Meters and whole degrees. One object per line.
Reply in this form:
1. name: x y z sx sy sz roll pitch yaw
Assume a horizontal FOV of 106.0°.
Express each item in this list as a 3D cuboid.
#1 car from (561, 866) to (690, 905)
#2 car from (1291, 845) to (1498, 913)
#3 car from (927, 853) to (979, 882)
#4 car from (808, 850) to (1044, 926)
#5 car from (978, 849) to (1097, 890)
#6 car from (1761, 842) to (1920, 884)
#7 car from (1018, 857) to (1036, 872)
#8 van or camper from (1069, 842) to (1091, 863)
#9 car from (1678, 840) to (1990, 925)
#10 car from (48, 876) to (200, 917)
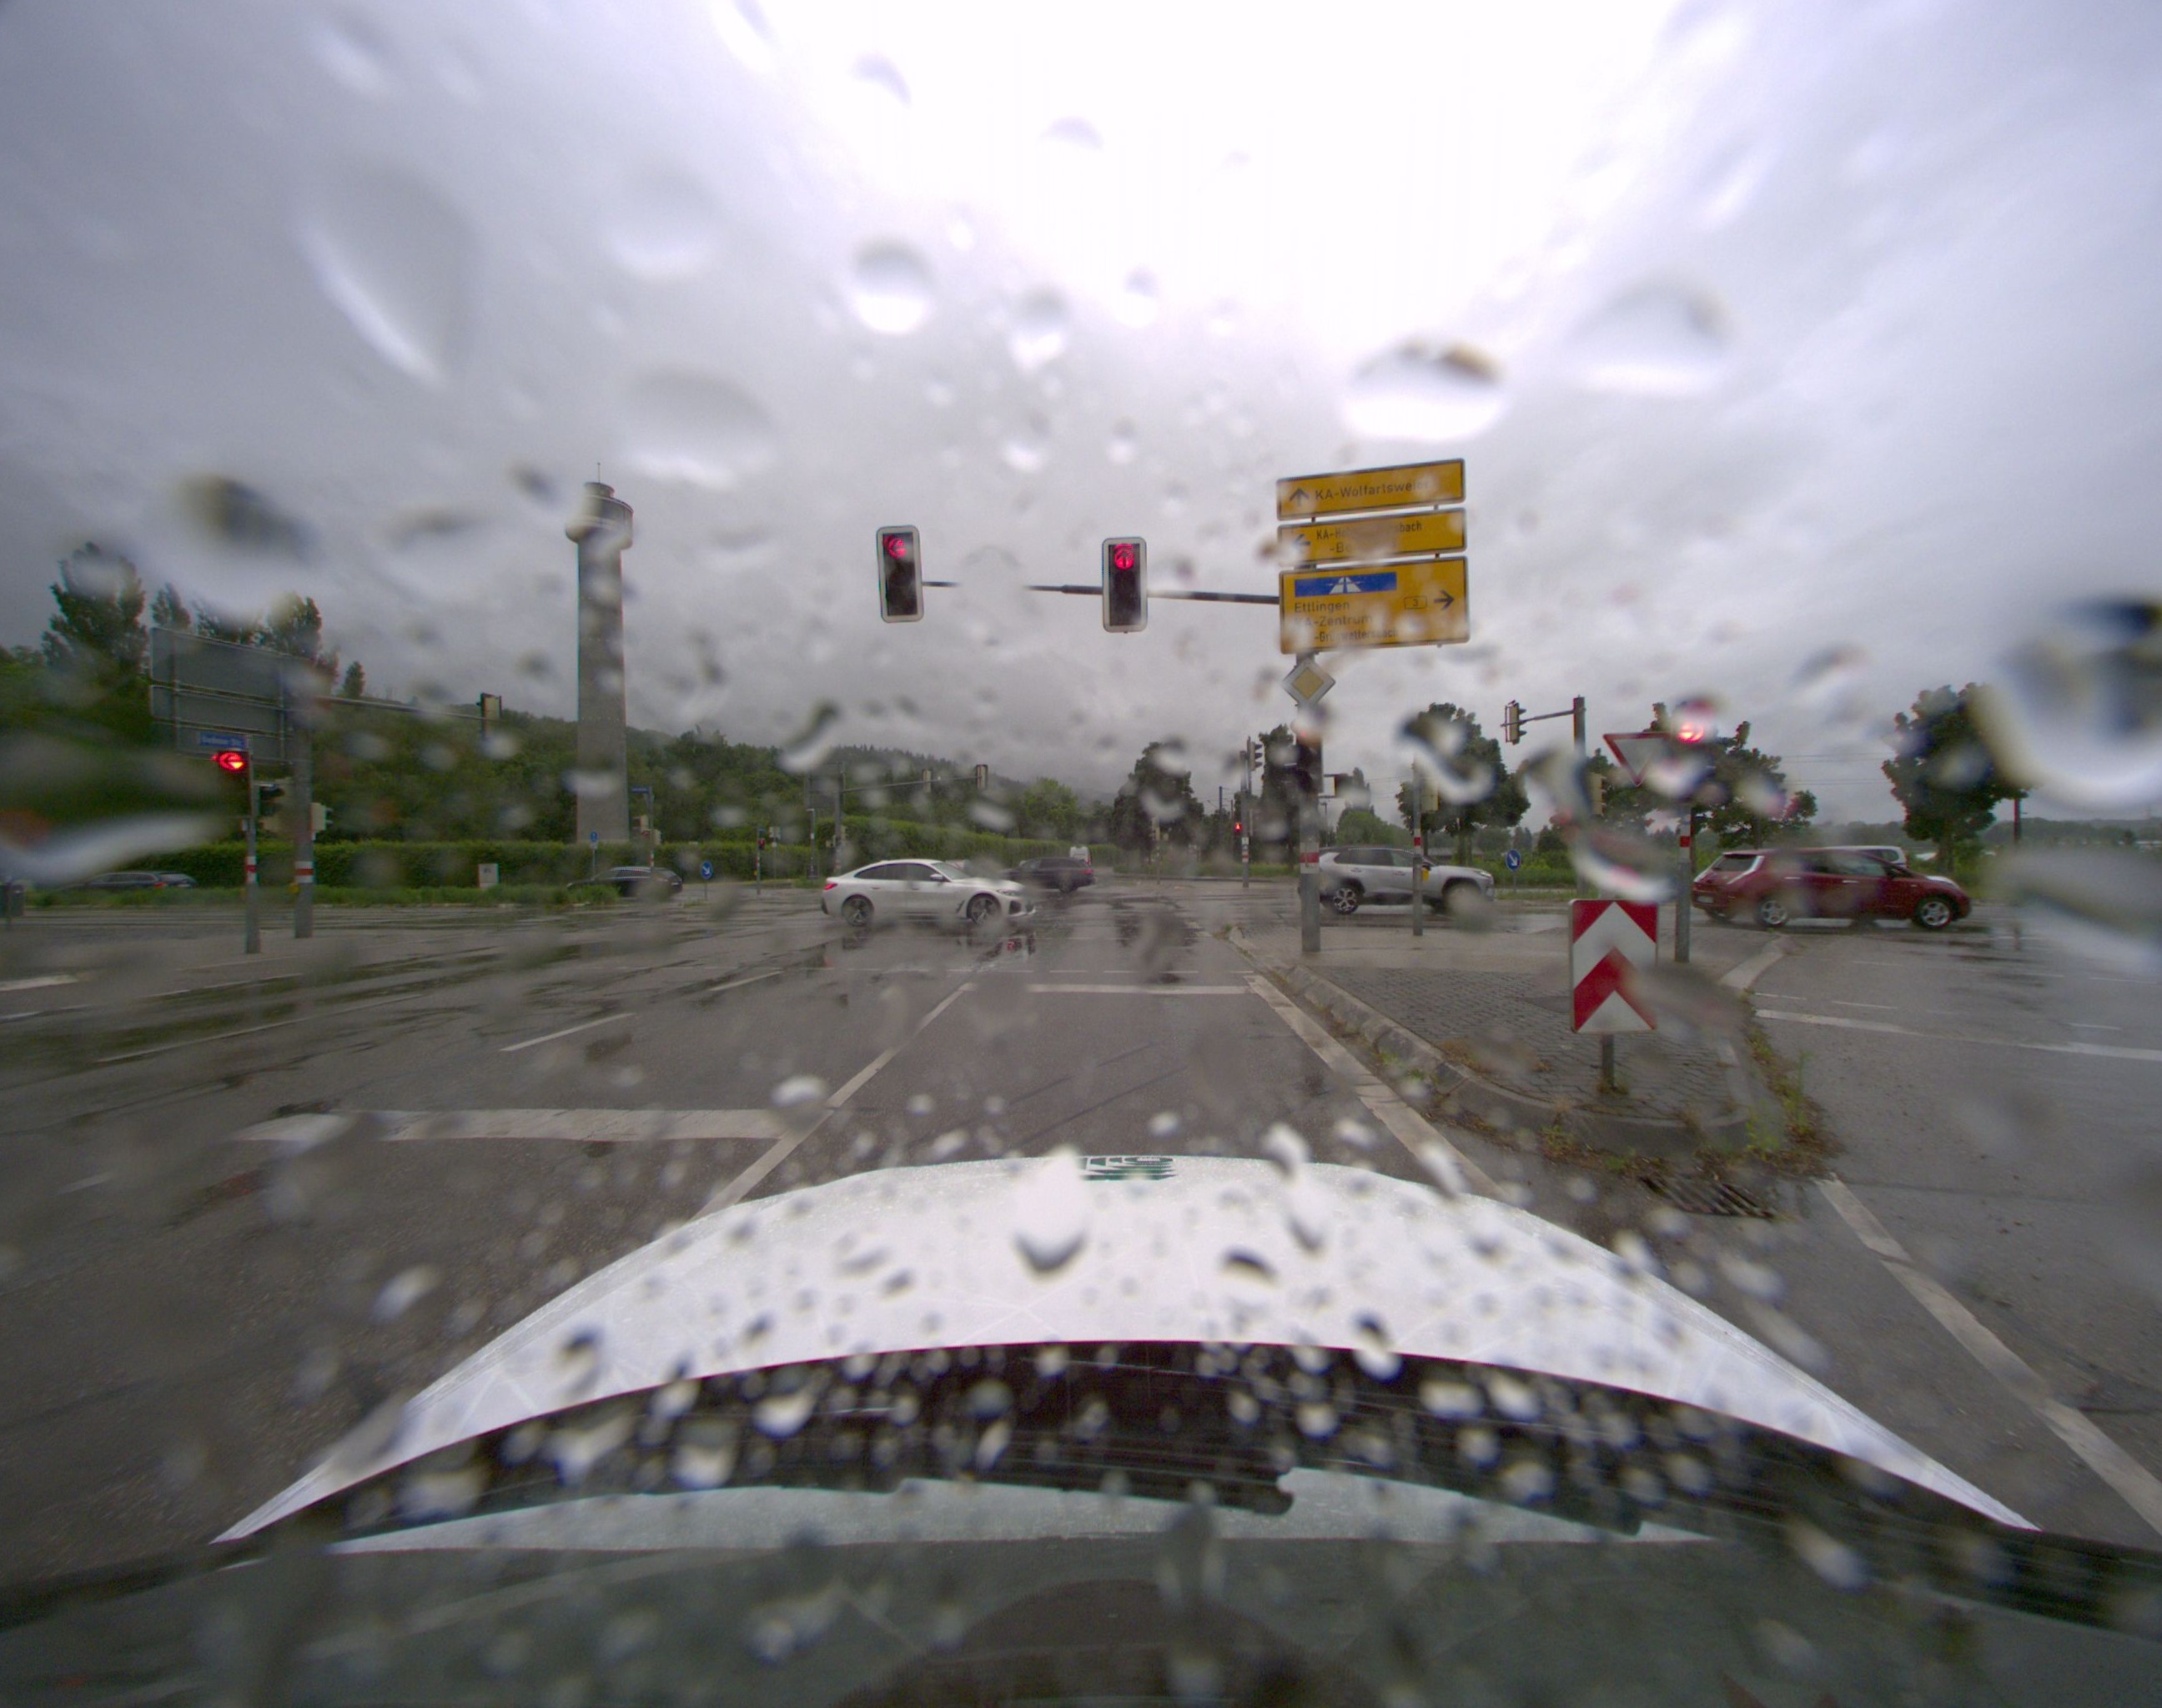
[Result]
1. car: -19.885 1.365 35.639 4.647 1.553 1.825 -1 0 5
2. car: 7.609 0.567 20.197 4.500 1.579 1.917 0 0 9
3. car: -7.653 0.760 49.153 1.869 1.573 4.653 -3 0 6
4. car: -3.418 0.747 18.380 4.852 1.553 1.804 -1 0 9
5. car: -1.733 0.604 33.683 4.646 1.553 1.825 -1 0 5
6. car: 30.192 0.356 32.534 4.303 1.553 1.829 -1 0 14
7. car: -5.508 1.075 83.706 1.552 1.481 3.362 -1 0 2
8. van or camper: -0.075 -0.154 85.176 2.145 2.169 4.867 -1 0 2
9. car: 14.742 0.545 16.190 4.350 1.579 1.737 -1 0 8
10. car: -41.078 1.818 35.008 4.647 1.553 1.825 -1 0 5
